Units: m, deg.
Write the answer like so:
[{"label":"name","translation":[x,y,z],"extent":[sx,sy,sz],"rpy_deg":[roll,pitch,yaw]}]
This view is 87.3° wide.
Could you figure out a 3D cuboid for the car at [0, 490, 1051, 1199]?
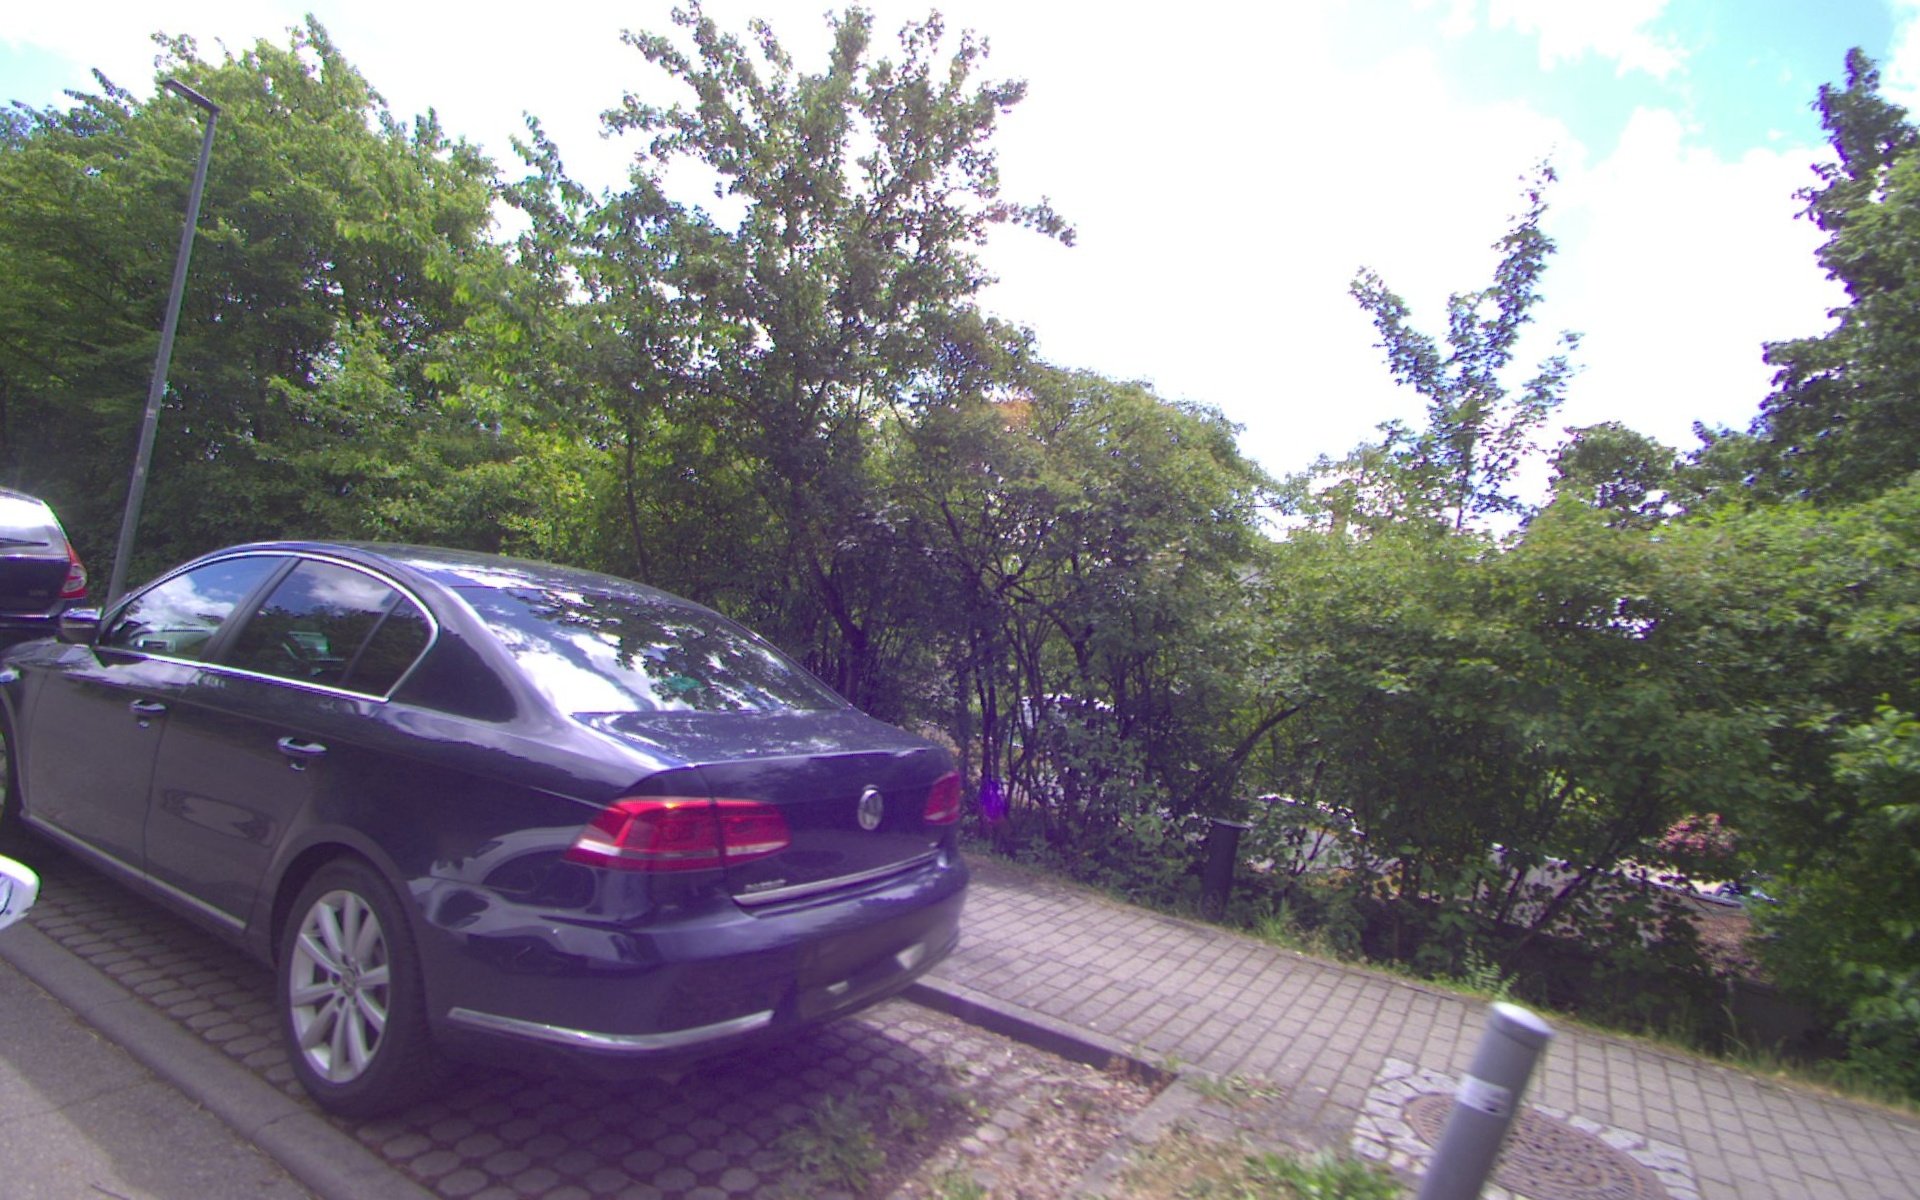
[{"label":"car","translation":[-2.026,0.536,3.853],"extent":[4.261,1.451,1.779],"rpy_deg":[7,-1,31]}]

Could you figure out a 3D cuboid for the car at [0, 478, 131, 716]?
[{"label":"car","translation":[-7.997,-0.204,7.178],"extent":[3.821,1.537,1.733],"rpy_deg":[6,-1,27]}]
